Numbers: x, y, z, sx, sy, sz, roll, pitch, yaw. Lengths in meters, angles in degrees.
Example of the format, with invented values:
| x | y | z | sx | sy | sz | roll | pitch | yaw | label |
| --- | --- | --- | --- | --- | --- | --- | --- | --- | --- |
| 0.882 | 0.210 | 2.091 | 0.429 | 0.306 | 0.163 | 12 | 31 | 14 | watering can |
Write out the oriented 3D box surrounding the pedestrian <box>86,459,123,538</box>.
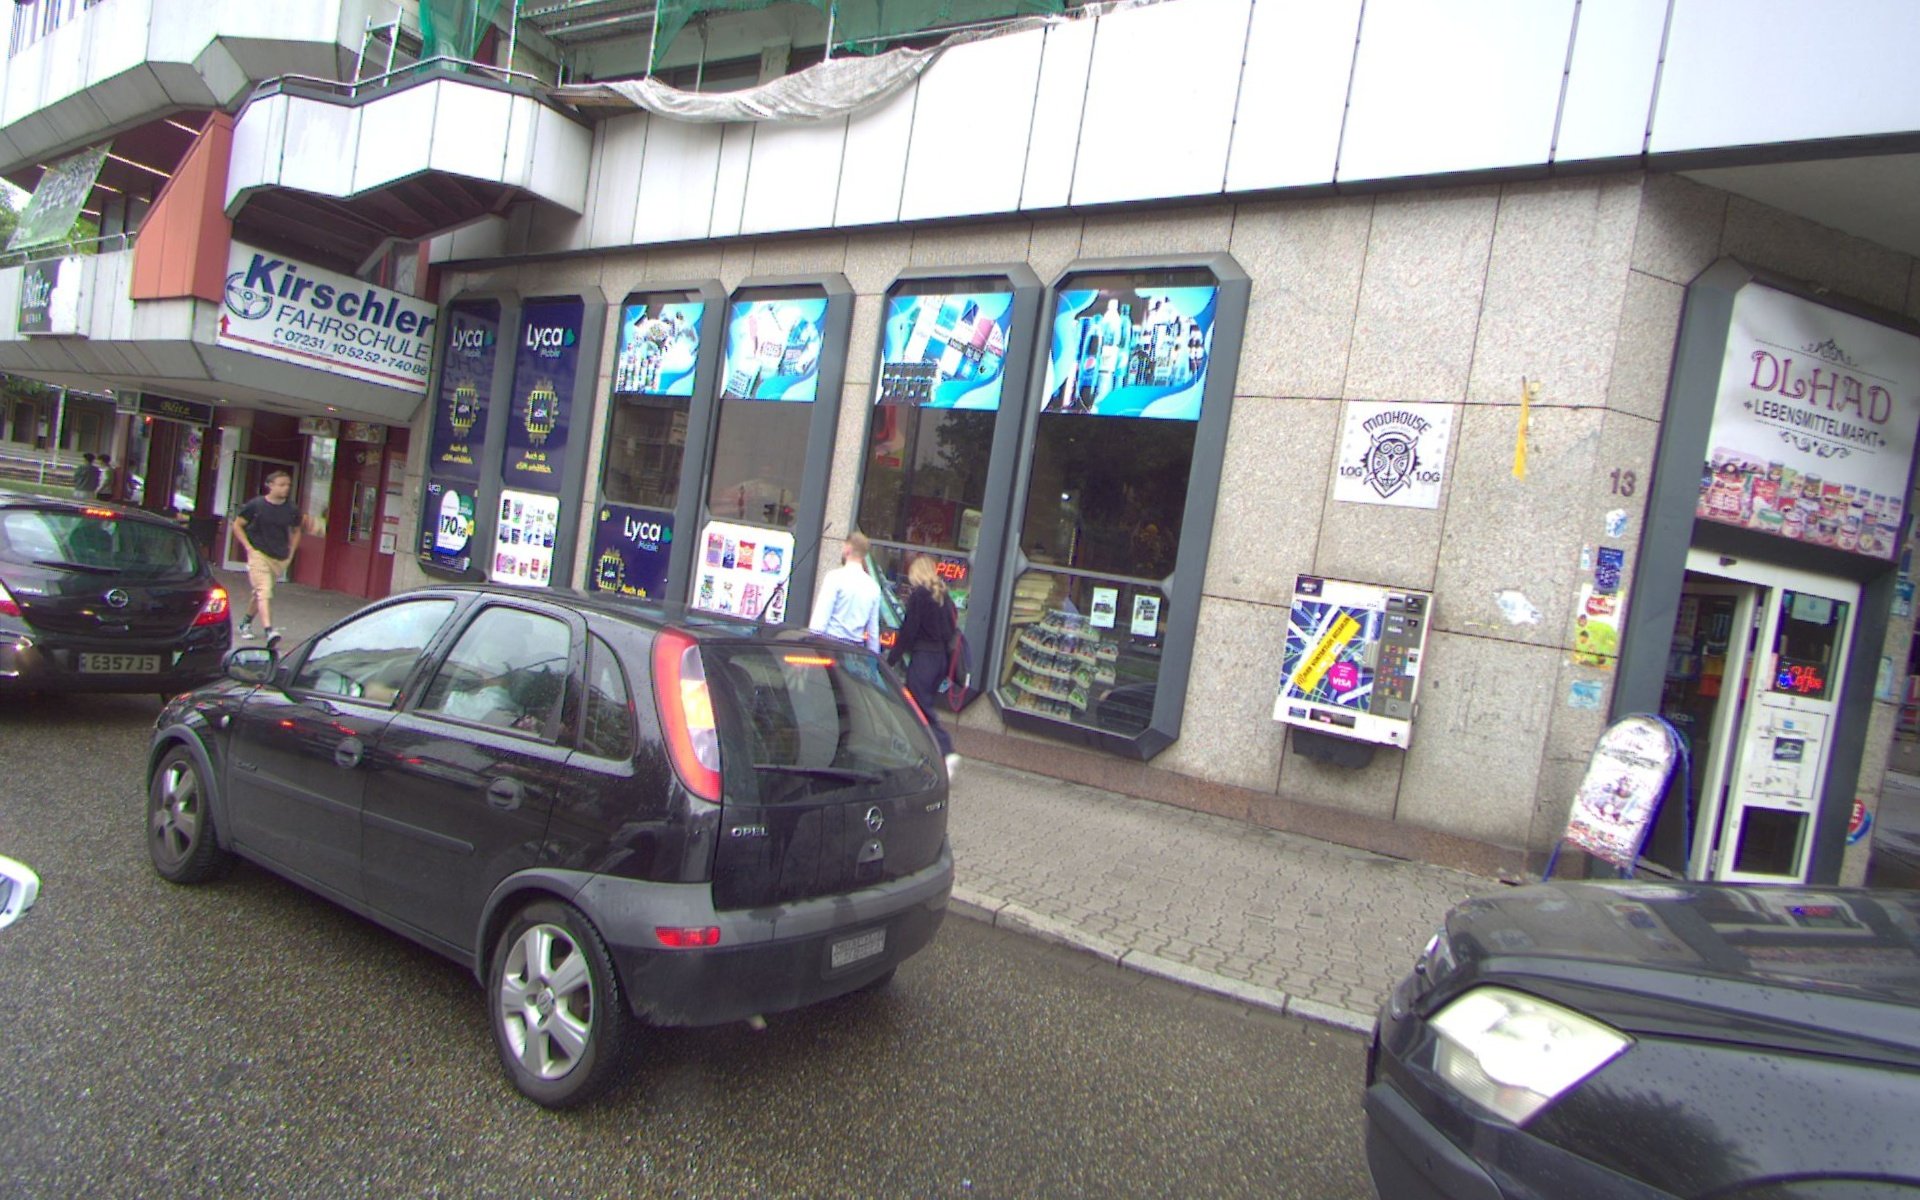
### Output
| x | y | z | sx | sy | sz | roll | pitch | yaw | label |
| --- | --- | --- | --- | --- | --- | --- | --- | --- | --- |
| -18.724 | -2.214 | 22.013 | 0.496 | 1.660 | 0.396 | 6 | 1 | 32 | pedestrian |

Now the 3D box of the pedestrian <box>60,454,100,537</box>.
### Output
| x | y | z | sx | sy | sz | roll | pitch | yaw | label |
| --- | --- | --- | --- | --- | --- | --- | --- | --- | --- |
| -18.670 | -2.213 | 21.337 | 0.443 | 1.704 | 0.426 | 6 | 1 | 30 | pedestrian |

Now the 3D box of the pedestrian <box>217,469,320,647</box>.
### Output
| x | y | z | sx | sy | sz | roll | pitch | yaw | label |
| --- | --- | --- | --- | --- | --- | --- | --- | --- | --- |
| -7.500 | -0.452 | 10.906 | 0.763 | 1.841 | 0.739 | 7 | 4 | 43 | pedestrian |

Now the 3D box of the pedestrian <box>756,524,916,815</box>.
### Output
| x | y | z | sx | sy | sz | roll | pitch | yaw | label |
| --- | --- | --- | --- | --- | --- | --- | --- | --- | --- |
| -0.886 | 0.492 | 7.296 | 0.629 | 1.957 | 0.737 | 6 | -1 | 31 | pedestrian |

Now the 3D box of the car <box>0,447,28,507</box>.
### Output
| x | y | z | sx | sy | sz | roll | pitch | yaw | label |
| --- | --- | --- | --- | --- | --- | --- | --- | --- | --- |
| -26.689 | -3.480 | 25.632 | 1.593 | 1.503 | 3.911 | 6 | -2 | 19 | car |

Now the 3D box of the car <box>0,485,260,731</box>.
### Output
| x | y | z | sx | sy | sz | roll | pitch | yaw | label |
| --- | --- | --- | --- | --- | --- | --- | --- | --- | --- |
| -7.090 | -0.113 | 7.358 | 3.776 | 1.446 | 1.620 | 8 | -1 | 29 | car |

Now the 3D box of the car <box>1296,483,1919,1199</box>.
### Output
| x | y | z | sx | sy | sz | roll | pitch | yaw | label |
| --- | --- | --- | --- | --- | --- | --- | --- | --- | --- |
| 2.812 | 0.995 | 1.430 | 4.095 | 1.786 | 1.763 | 8 | -1 | 32 | car |

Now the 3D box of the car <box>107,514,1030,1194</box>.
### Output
| x | y | z | sx | sy | sz | roll | pitch | yaw | label |
| --- | --- | --- | --- | --- | --- | --- | --- | --- | --- |
| -1.736 | 0.618 | 4.113 | 3.563 | 1.446 | 1.609 | 8 | -1 | 33 | car |

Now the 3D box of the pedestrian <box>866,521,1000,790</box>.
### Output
| x | y | z | sx | sy | sz | roll | pitch | yaw | label |
| --- | --- | --- | --- | --- | --- | --- | --- | --- | --- |
| -0.204 | 0.407 | 7.862 | 0.629 | 1.961 | 0.736 | 6 | 4 | 31 | pedestrian |
